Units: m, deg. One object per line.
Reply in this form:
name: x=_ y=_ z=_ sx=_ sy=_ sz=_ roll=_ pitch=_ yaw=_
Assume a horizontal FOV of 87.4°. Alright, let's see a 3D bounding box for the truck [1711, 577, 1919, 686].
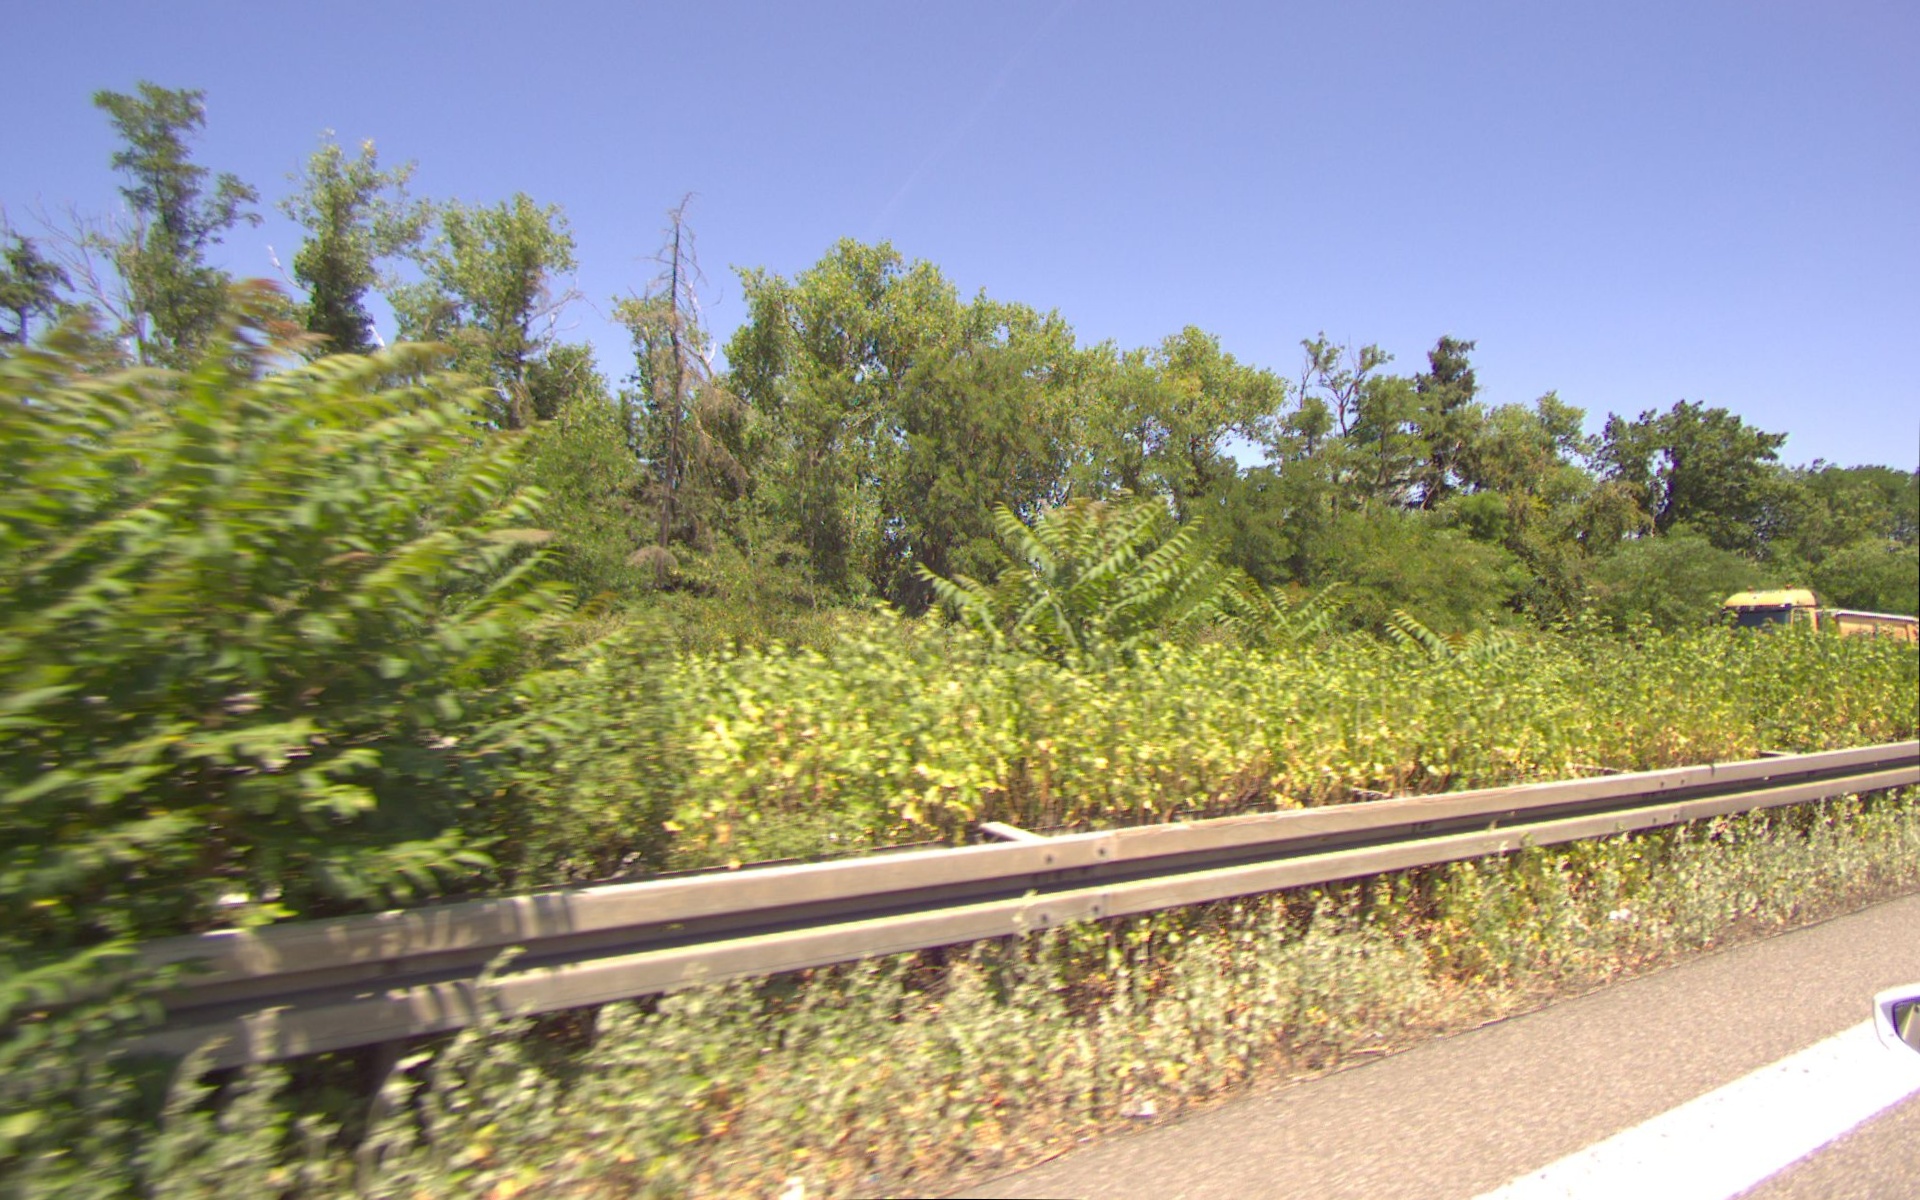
truck: x=33.557 y=1.287 z=38.792 sx=11.758 sy=3.754 sz=2.887 roll=1 pitch=-3 yaw=-30
